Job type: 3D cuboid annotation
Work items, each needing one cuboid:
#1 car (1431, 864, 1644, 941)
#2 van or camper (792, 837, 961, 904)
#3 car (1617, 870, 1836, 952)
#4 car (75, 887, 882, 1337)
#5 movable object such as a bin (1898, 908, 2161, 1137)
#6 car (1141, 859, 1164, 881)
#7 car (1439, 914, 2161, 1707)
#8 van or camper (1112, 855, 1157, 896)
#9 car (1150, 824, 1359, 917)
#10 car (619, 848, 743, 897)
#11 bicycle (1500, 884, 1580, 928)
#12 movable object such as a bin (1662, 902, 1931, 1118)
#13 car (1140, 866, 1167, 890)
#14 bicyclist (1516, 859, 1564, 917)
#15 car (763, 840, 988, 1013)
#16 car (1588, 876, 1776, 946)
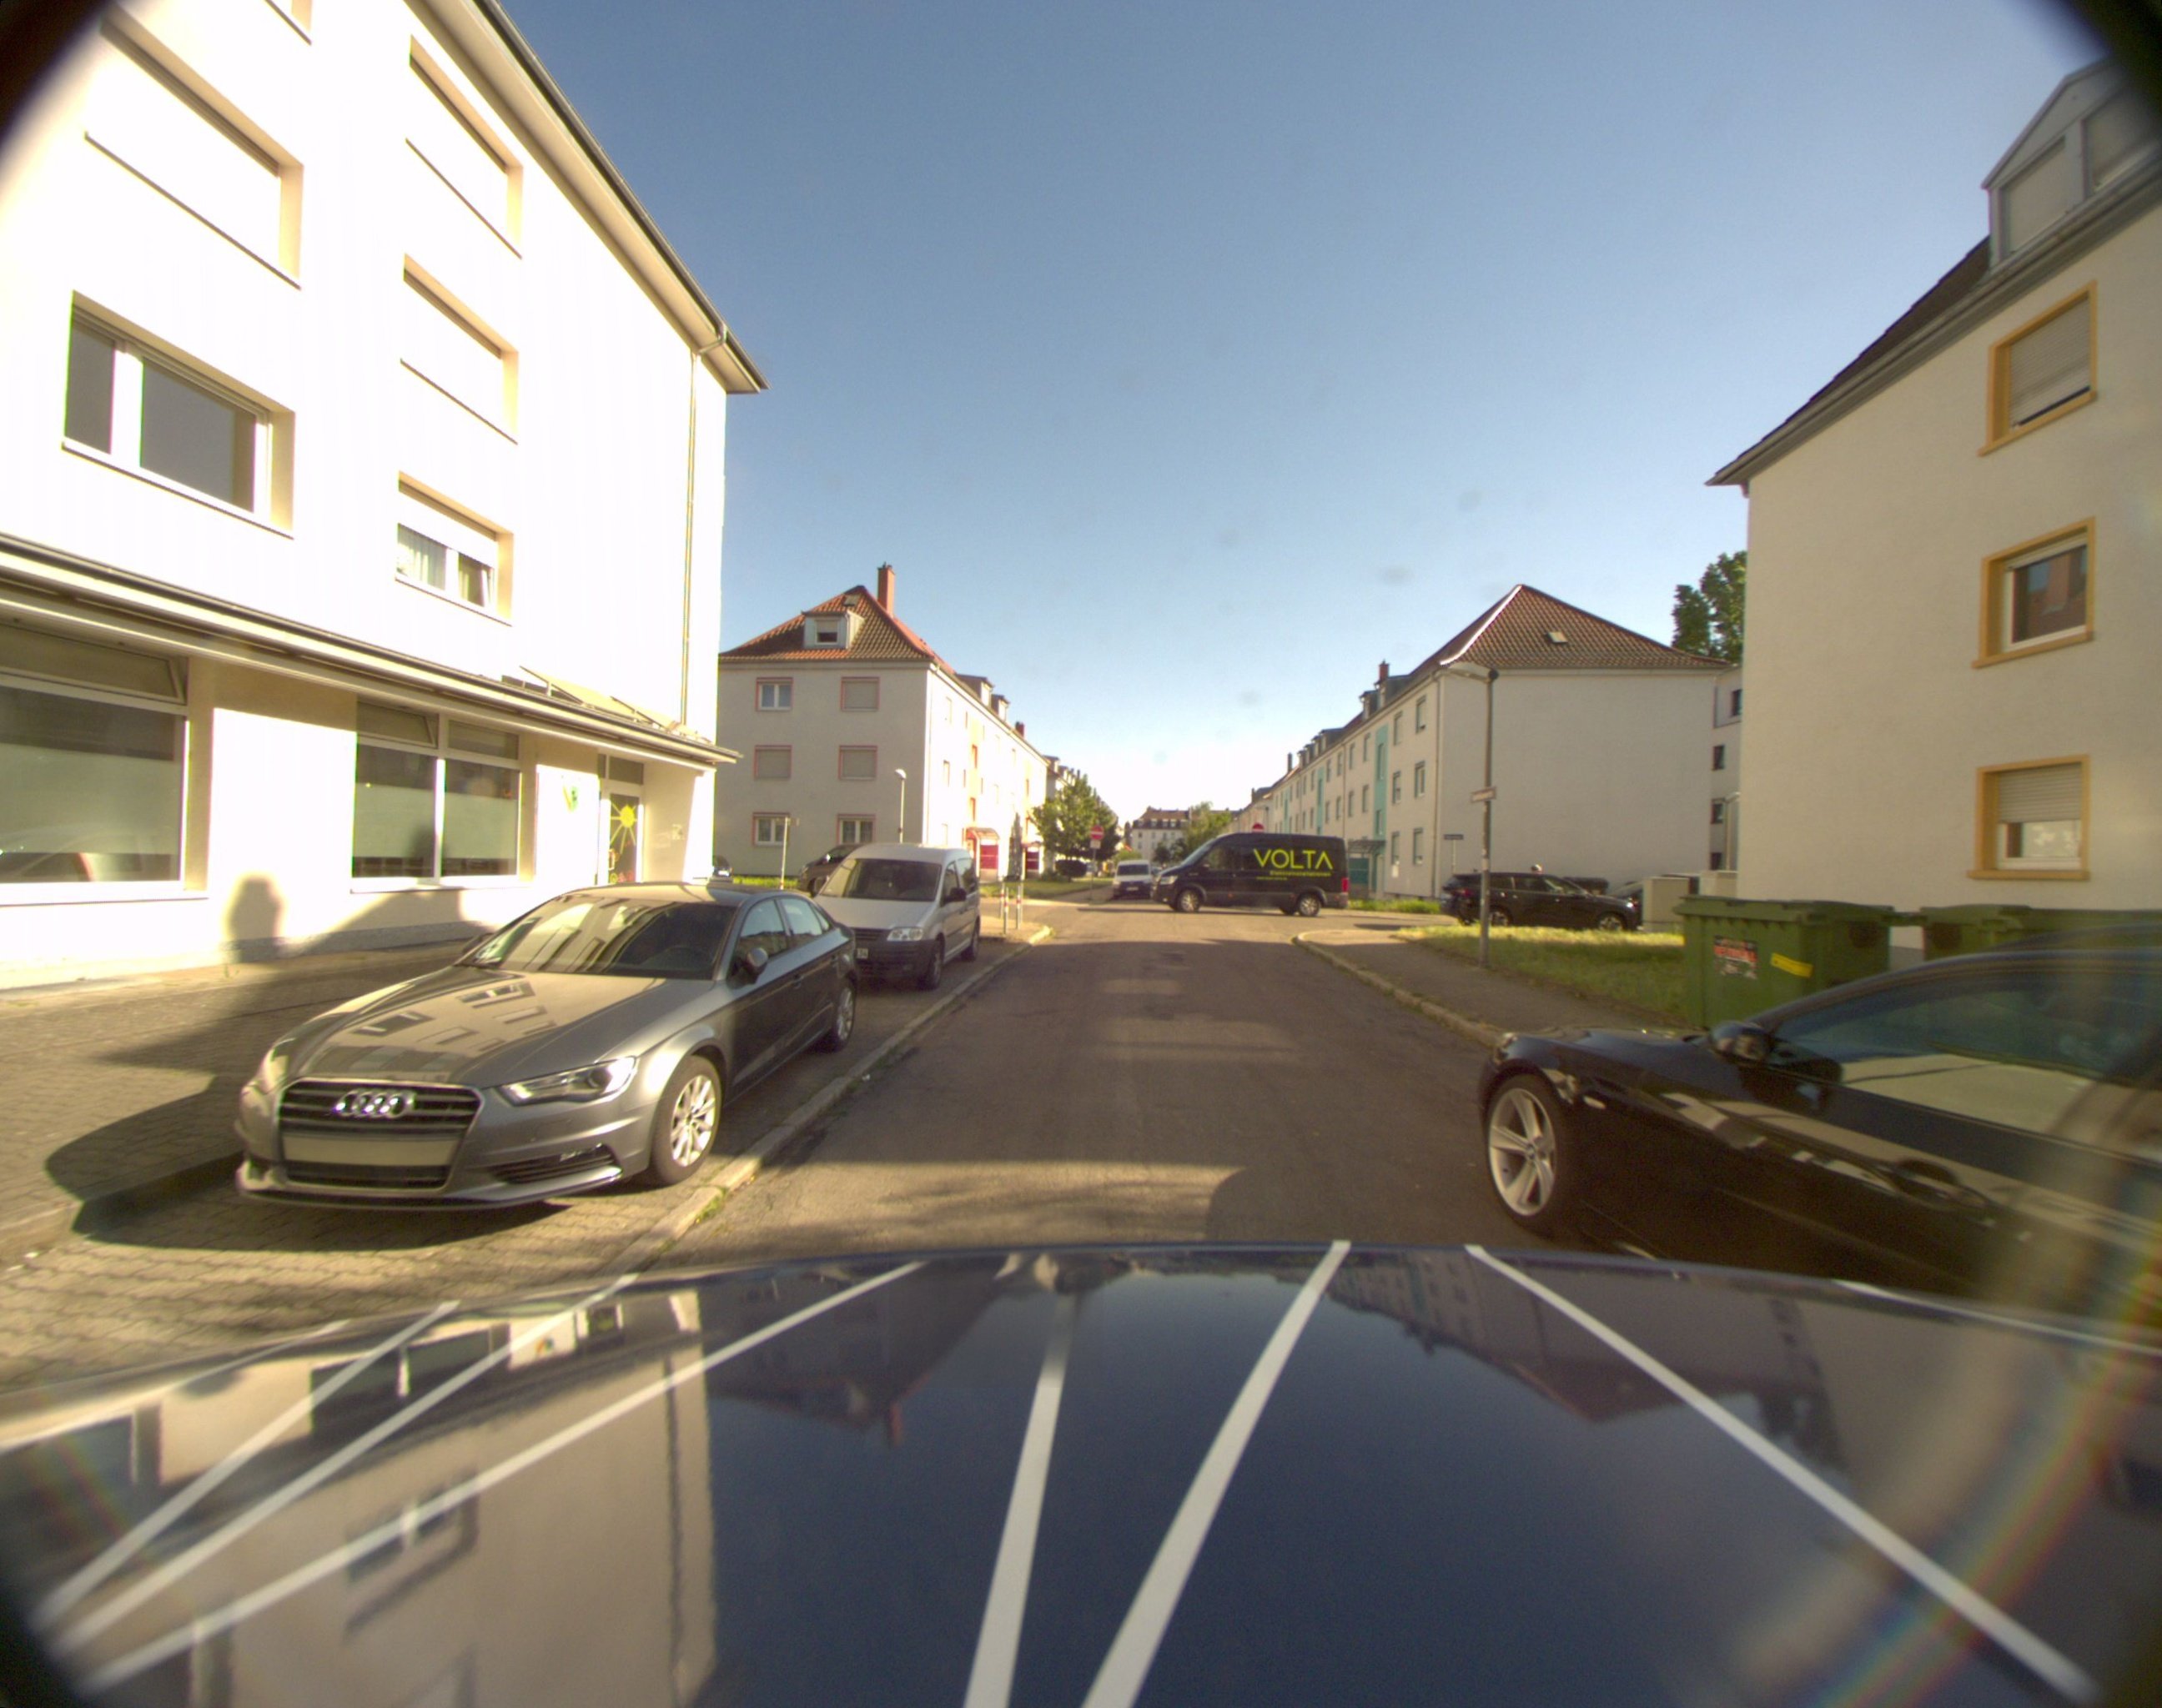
[{"bbox_3d":[12.061,1.243,20.323,4.497,1.654,1.720,3,1,6],"label":"car"},{"bbox_3d":[-6.945,0.570,26.148,5.135,2.001,2.001,2,-2,3],"label":"van or camper"},{"bbox_3d":[16.753,1.435,19.894,3.998,1.778,1.720,3,1,6],"label":"car"},{"bbox_3d":[-2.777,1.040,5.032,1.682,1.398,4.545,3,-1,0],"label":"car"},{"bbox_3d":[6.663,1.096,5.203,1.222,1.372,0.768,2,0,9],"label":"movable object such as a bin"},{"bbox_3d":[5.524,1.245,59.057,1.779,1.709,4.310,0,-1,4],"label":"car"},{"bbox_3d":[2.651,1.074,1.536,1.682,1.444,4.621,5,0,2],"label":"car"},{"bbox_3d":[2.566,0.986,35.368,1.796,1.737,4.738,-1,-1,7],"label":"van or camper"},{"bbox_3d":[5.279,0.514,23.695,5.957,2.530,2.000,2,0,-2],"label":"car"},{"bbox_3d":[-14.095,0.629,26.889,3.481,1.521,1.681,3,0,6],"label":"car"},{"bbox_3d":[13.207,1.483,21.888,1.814,1.109,0.629,4,1,1],"label":"bicycle"},{"bbox_3d":[5.493,1.122,5.970,0.777,1.384,1.418,3,0,5],"label":"movable object such as a bin"},{"bbox_3d":[4.743,1.599,49.735,1.632,1.441,3.955,2,-2,5],"label":"car"},{"bbox_3d":[13.213,0.966,21.884,0.906,1.569,0.598,4,0,0],"label":"bicyclist"},{"bbox_3d":[-2.555,0.831,10.564,1.751,1.813,4.132,4,0,2],"label":"car"},{"bbox_3d":[17.987,1.662,22.935,3.994,1.685,1.867,4,0,7],"label":"car"}]
